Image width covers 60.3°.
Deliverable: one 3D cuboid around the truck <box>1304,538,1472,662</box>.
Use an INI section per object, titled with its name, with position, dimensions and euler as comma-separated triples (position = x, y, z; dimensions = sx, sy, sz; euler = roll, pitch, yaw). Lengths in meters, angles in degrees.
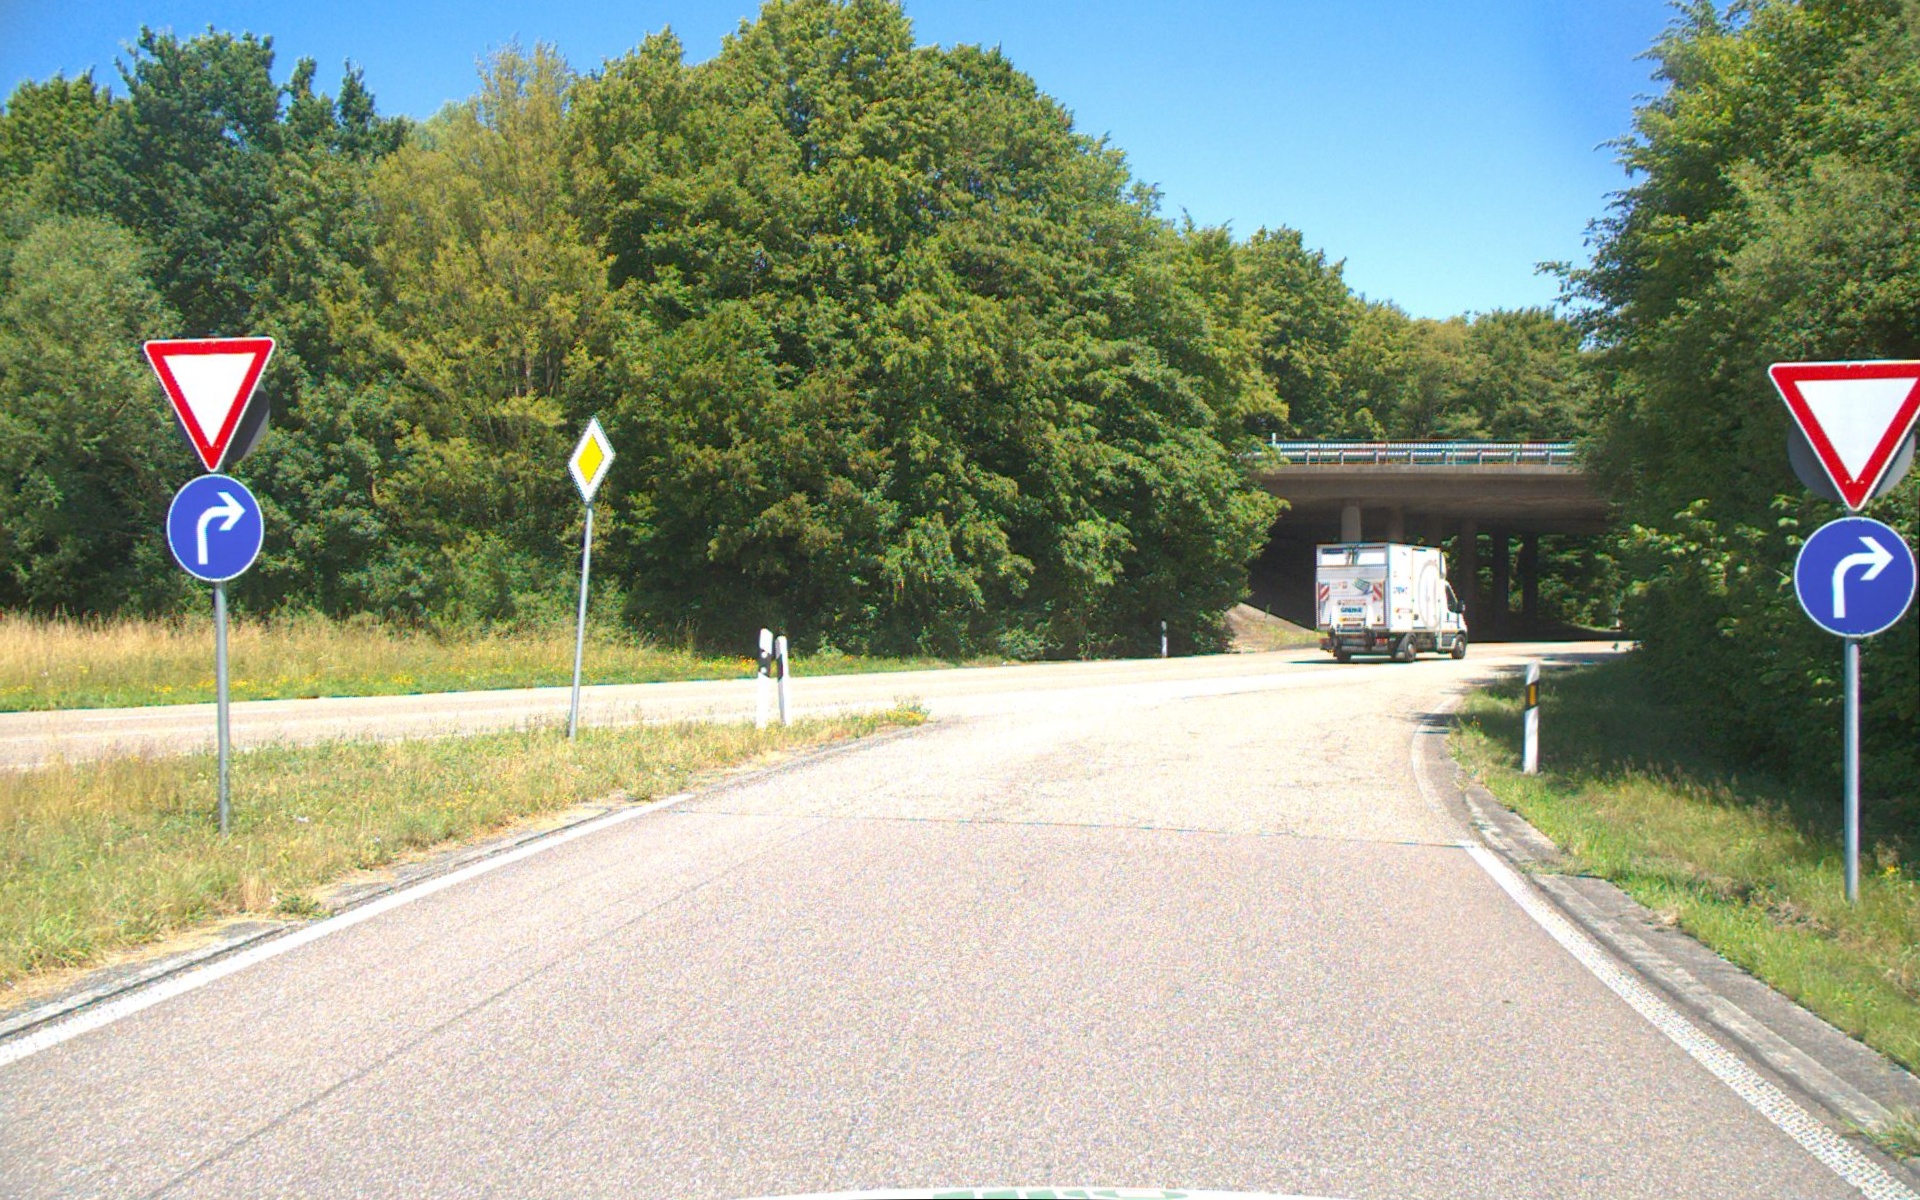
[truck]
position = 11.368, 0.015, 43.599
dimensions = 2.204, 3.037, 5.869
euler = -1, -1, 37
